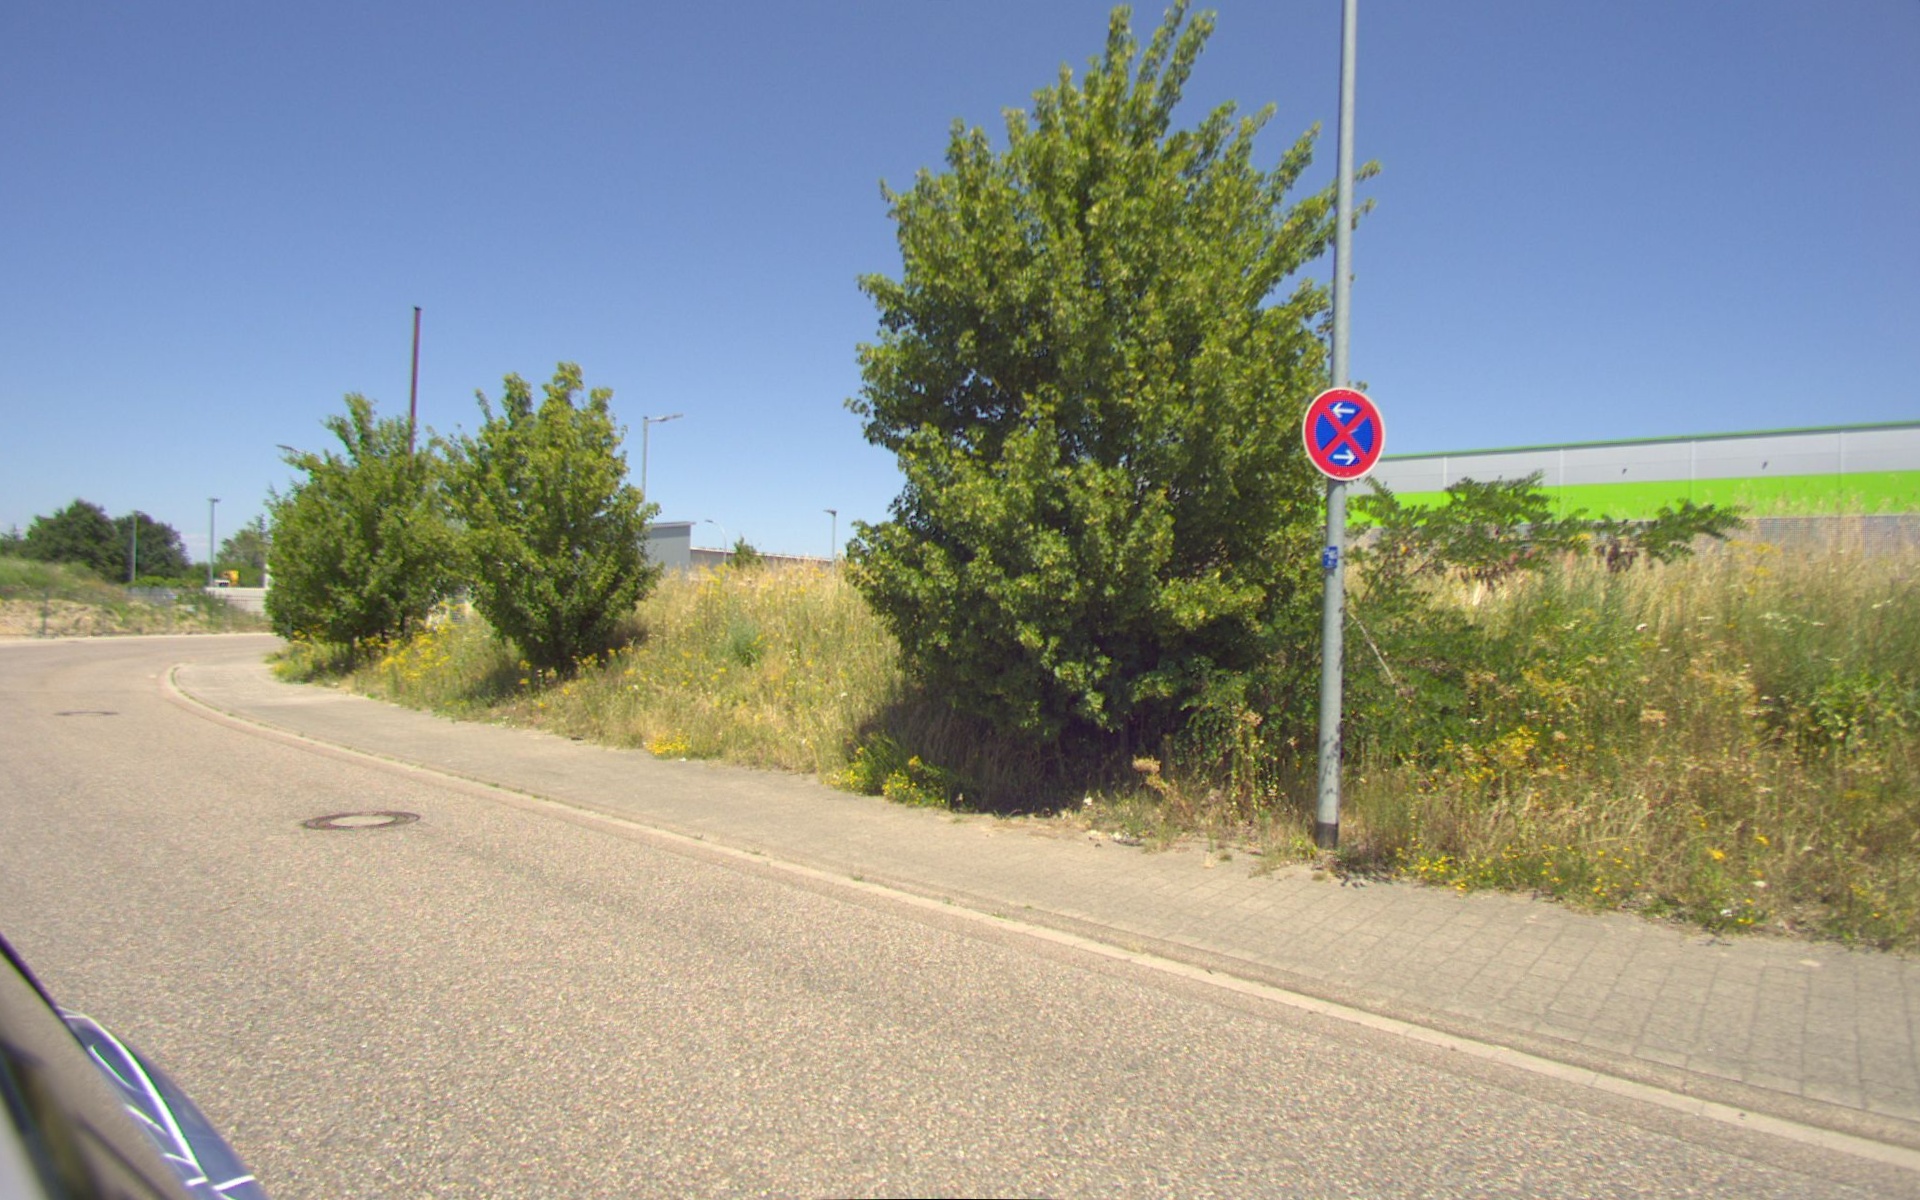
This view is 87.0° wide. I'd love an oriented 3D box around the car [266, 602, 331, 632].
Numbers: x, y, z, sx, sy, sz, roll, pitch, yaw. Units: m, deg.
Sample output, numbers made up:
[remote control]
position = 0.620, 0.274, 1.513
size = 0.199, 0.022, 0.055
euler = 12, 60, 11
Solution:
[car]
position = -38.557, 0.969, 58.939
size = 4.017, 1.473, 1.869
euler = 4, 0, 37
